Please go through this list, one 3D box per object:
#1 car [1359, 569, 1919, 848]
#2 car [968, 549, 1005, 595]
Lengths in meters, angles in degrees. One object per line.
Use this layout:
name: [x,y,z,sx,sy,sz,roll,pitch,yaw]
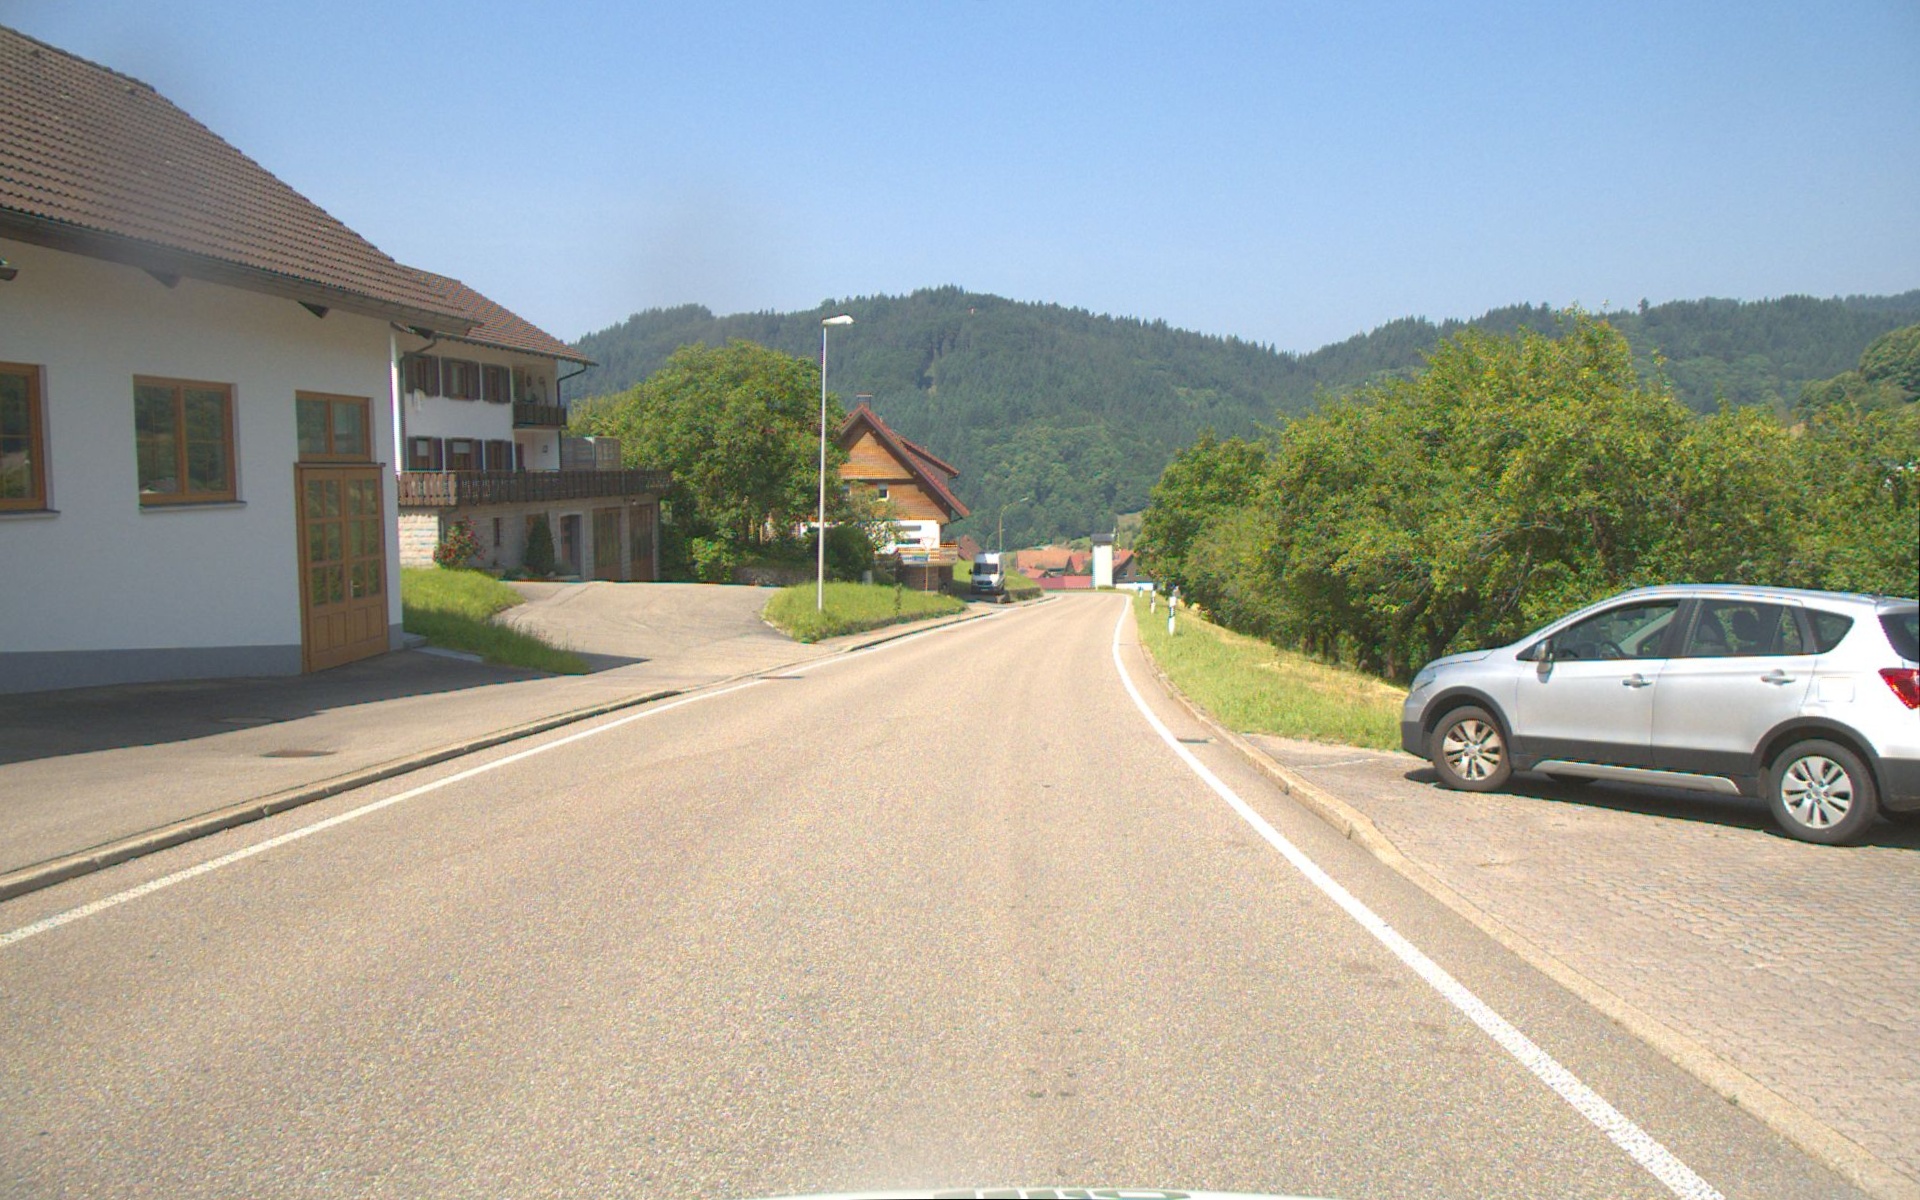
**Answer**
car: [5.266,0.630,11.965,1.887,1.598,4.400,1,1,-39]
car: [1.851,-1.984,113.325,2.024,2.734,7.181,-1,4,5]
